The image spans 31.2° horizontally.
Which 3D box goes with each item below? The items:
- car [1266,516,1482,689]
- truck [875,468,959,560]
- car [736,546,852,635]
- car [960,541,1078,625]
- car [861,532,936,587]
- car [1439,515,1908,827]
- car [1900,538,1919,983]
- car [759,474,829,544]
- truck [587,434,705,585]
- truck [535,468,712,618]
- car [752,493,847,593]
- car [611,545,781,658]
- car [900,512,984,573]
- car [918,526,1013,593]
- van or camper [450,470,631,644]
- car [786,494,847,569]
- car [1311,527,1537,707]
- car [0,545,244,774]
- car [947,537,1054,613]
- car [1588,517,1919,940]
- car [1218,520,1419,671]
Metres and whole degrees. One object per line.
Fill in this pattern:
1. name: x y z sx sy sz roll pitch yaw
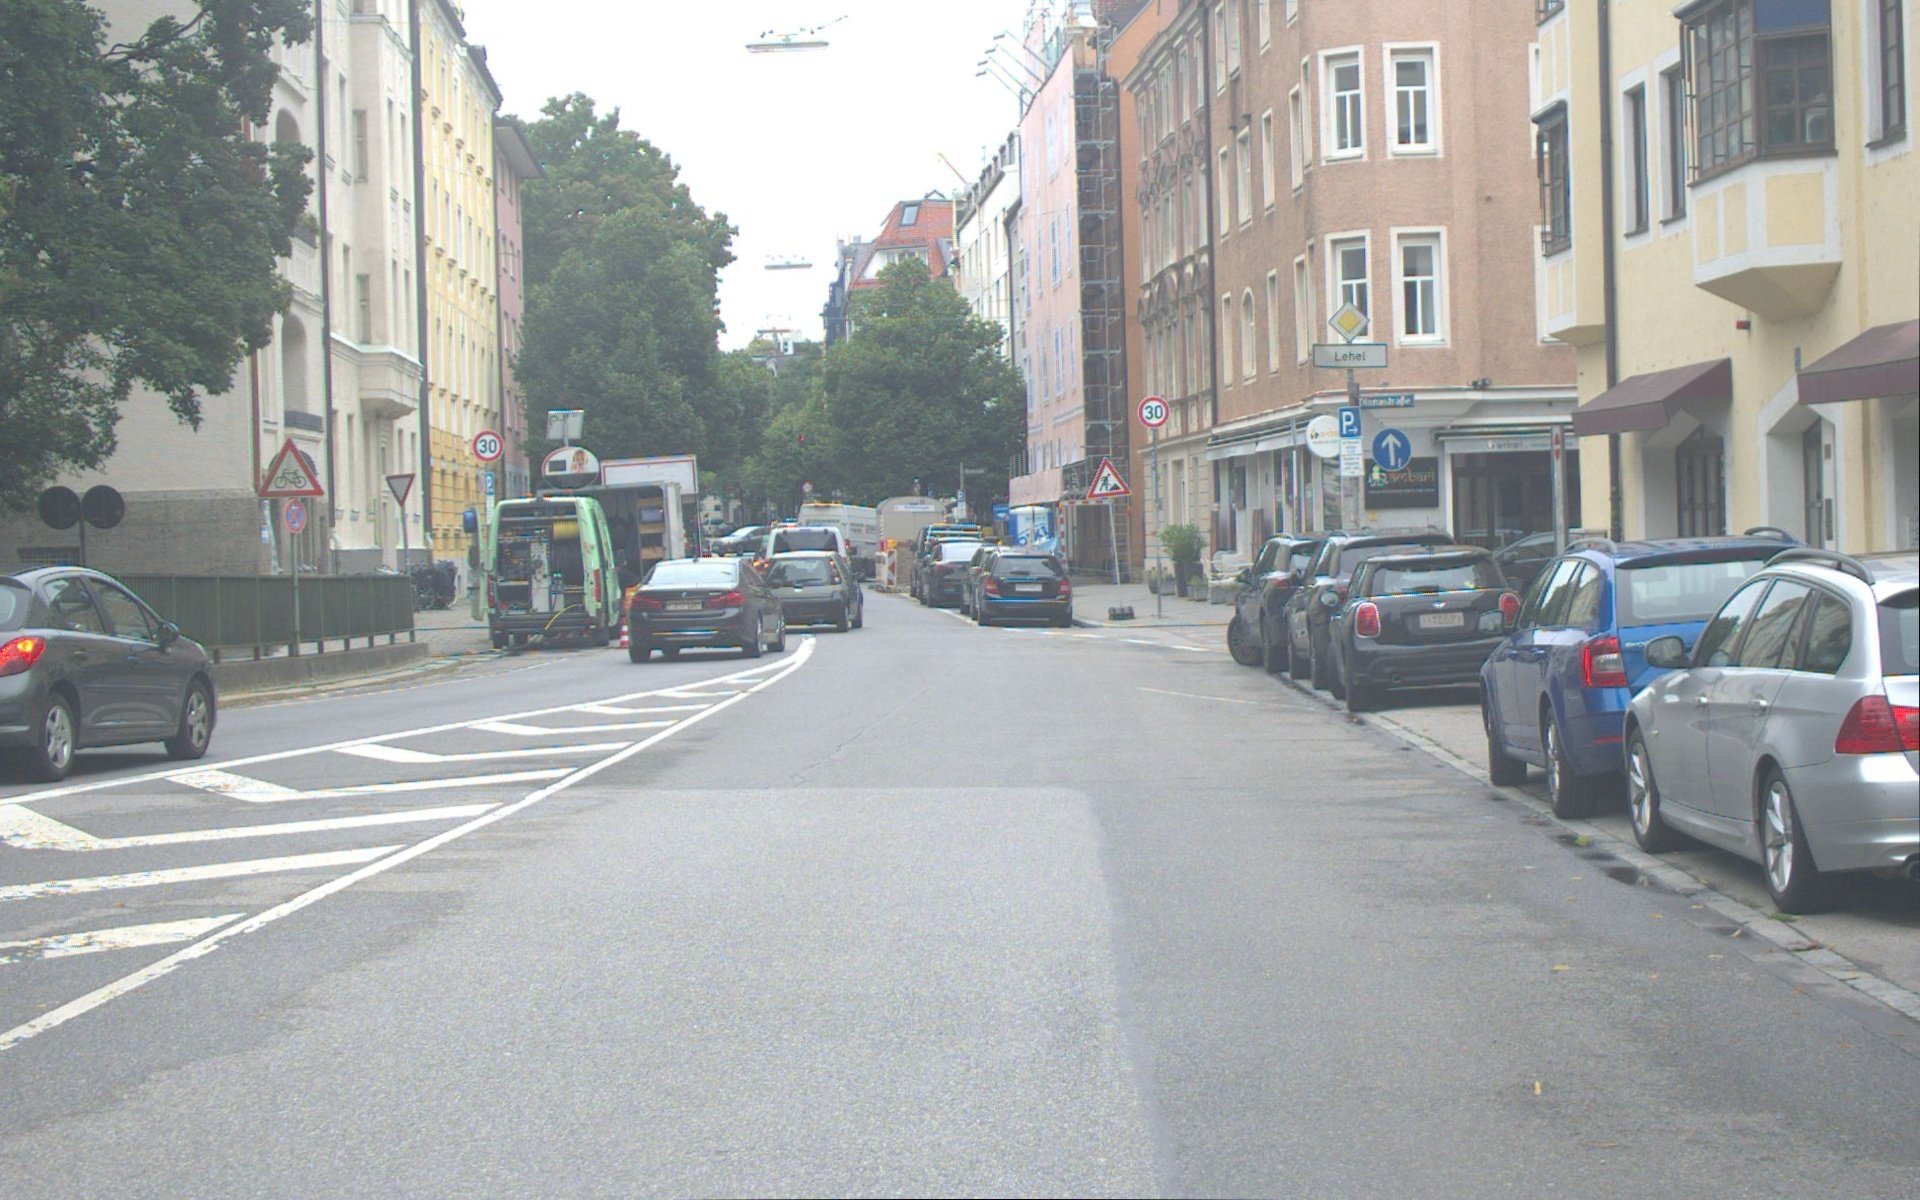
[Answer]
1. car: 4.393 -0.023 37.122 1.756 1.673 4.707 -3 1 1
2. truck: -1.469 -2.833 113.907 2.491 2.963 5.328 -1 1 -3
3. car: -2.996 -0.192 62.245 1.990 1.424 4.141 -2 2 -2
4. car: 1.087 -0.354 65.405 1.844 1.424 4.184 1 2 -4
5. car: -1.761 -1.174 97.714 1.990 1.424 4.141 -2 2 -2
6. car: 3.911 0.312 19.584 1.756 1.491 4.487 -3 1 1
7. car: 3.960 0.539 9.615 1.628 1.491 3.787 -3 1 1
8. car: -5.049 -2.750 104.081 1.993 2.007 4.001 -2 1 -3
9. truck: -8.518 -2.454 93.860 3.012 3.938 6.997 -1 1 -4
10. truck: -6.830 -1.249 70.757 2.773 2.863 7.202 -1 2 1
11. car: -3.516 -1.290 75.657 1.990 2.068 4.141 -2 2 -2
12. car: -3.784 -0.020 50.081 1.990 1.424 4.906 -1 2 1
13. car: -0.486 -1.479 87.924 1.990 1.424 4.141 -2 2 -2
14. car: 0.095 -0.959 80.027 1.844 1.424 4.307 1 2 -4
15. van or camper: -7.276 -0.820 60.326 2.600 2.830 6.187 -2 2 -2
16. car: -4.891 -2.342 117.725 1.939 2.472 4.783 -1 1 -1
17. car: 4.265 0.113 32.080 1.757 1.491 3.822 -3 1 4
18. car: -6.618 0.374 24.421 1.759 1.456 4.073 -1 1 7
19. car: 0.803 -0.546 71.289 1.844 1.424 4.141 1 2 -4
20. car: 3.944 0.417 14.791 1.690 1.491 4.434 -3 1 1
21. car: 4.352 -0.100 42.345 1.818 1.673 4.511 -3 1 -1
